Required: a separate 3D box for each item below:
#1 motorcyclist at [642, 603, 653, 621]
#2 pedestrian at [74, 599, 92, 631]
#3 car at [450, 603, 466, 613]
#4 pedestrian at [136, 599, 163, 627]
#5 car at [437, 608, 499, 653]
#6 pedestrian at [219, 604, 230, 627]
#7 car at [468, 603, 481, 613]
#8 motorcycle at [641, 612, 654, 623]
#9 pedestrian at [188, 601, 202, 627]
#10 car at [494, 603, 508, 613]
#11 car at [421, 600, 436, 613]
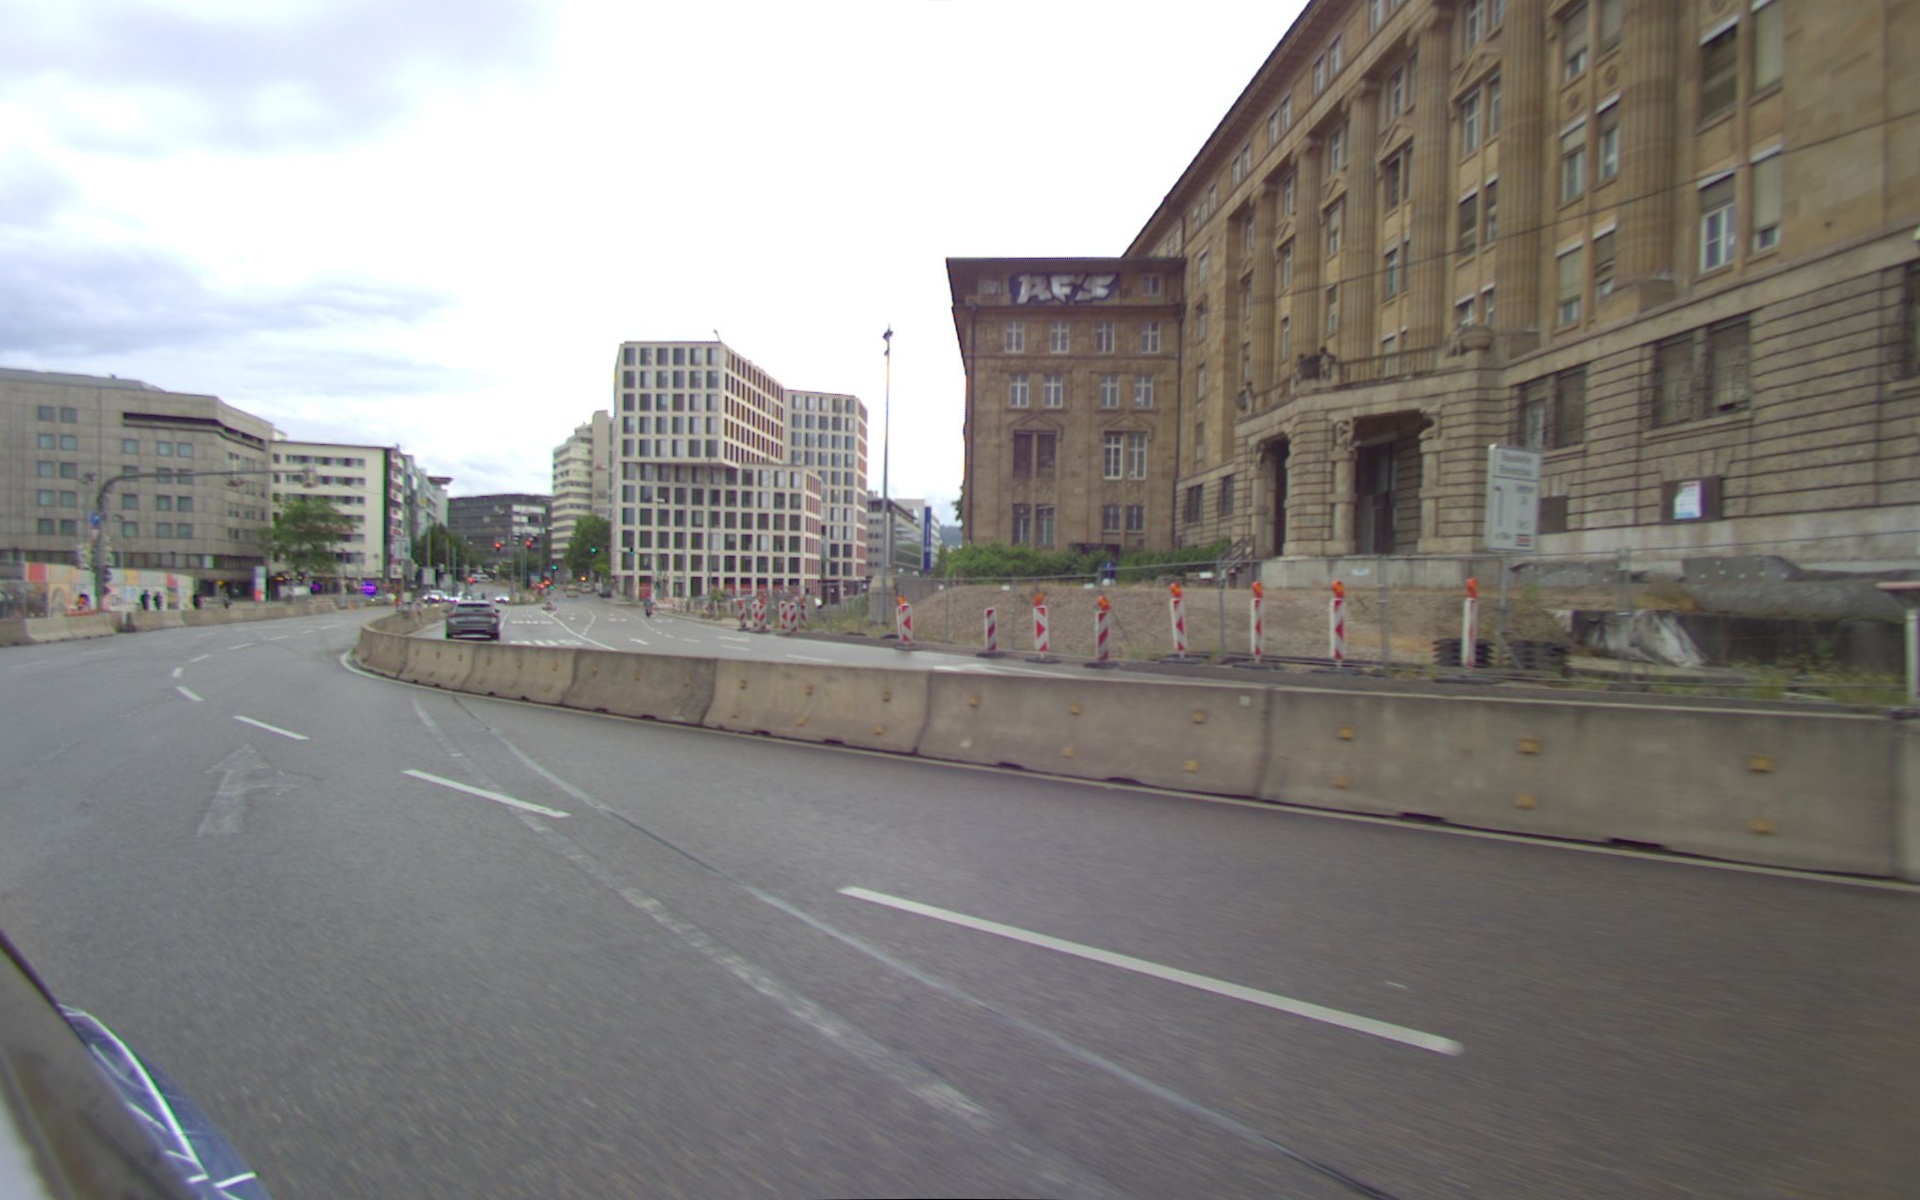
[{"bbox_3d":[-25.626,0.996,82.939,0.692,1.498,0.966,1,-1,-28],"label":"motorcyclist"},{"bbox_3d":[-46.797,0.796,54.006,0.638,1.682,0.767,3,-2,-38],"label":"pedestrian"},{"bbox_3d":[-75.258,1.177,151.727,1.965,1.464,4.013,1,0,-28],"label":"car"},{"bbox_3d":[-53.770,0.864,67.148,1.081,1.774,0.909,2,-2,-22],"label":"pedestrian"},{"bbox_3d":[-18.207,1.073,37.360,1.742,1.533,4.400,1,0,-30],"label":"car"},{"bbox_3d":[-56.627,1.215,77.925,0.643,1.774,0.549,3,-2,-38],"label":"pedestrian"},{"bbox_3d":[-72.825,1.162,151.800,1.680,1.464,3.808,1,0,-28],"label":"car"},{"bbox_3d":[-25.612,1.427,82.902,0.692,0.899,1.828,1,0,-28],"label":"motorcycle"},{"bbox_3d":[-53.844,1.003,71.234,0.745,1.774,0.767,3,-2,-38],"label":"pedestrian"},{"bbox_3d":[-69.762,1.206,153.918,1.762,1.464,3.684,1,0,-28],"label":"car"},{"bbox_3d":[-79.279,0.981,151.066,1.965,1.838,4.013,1,0,-28],"label":"car"}]
